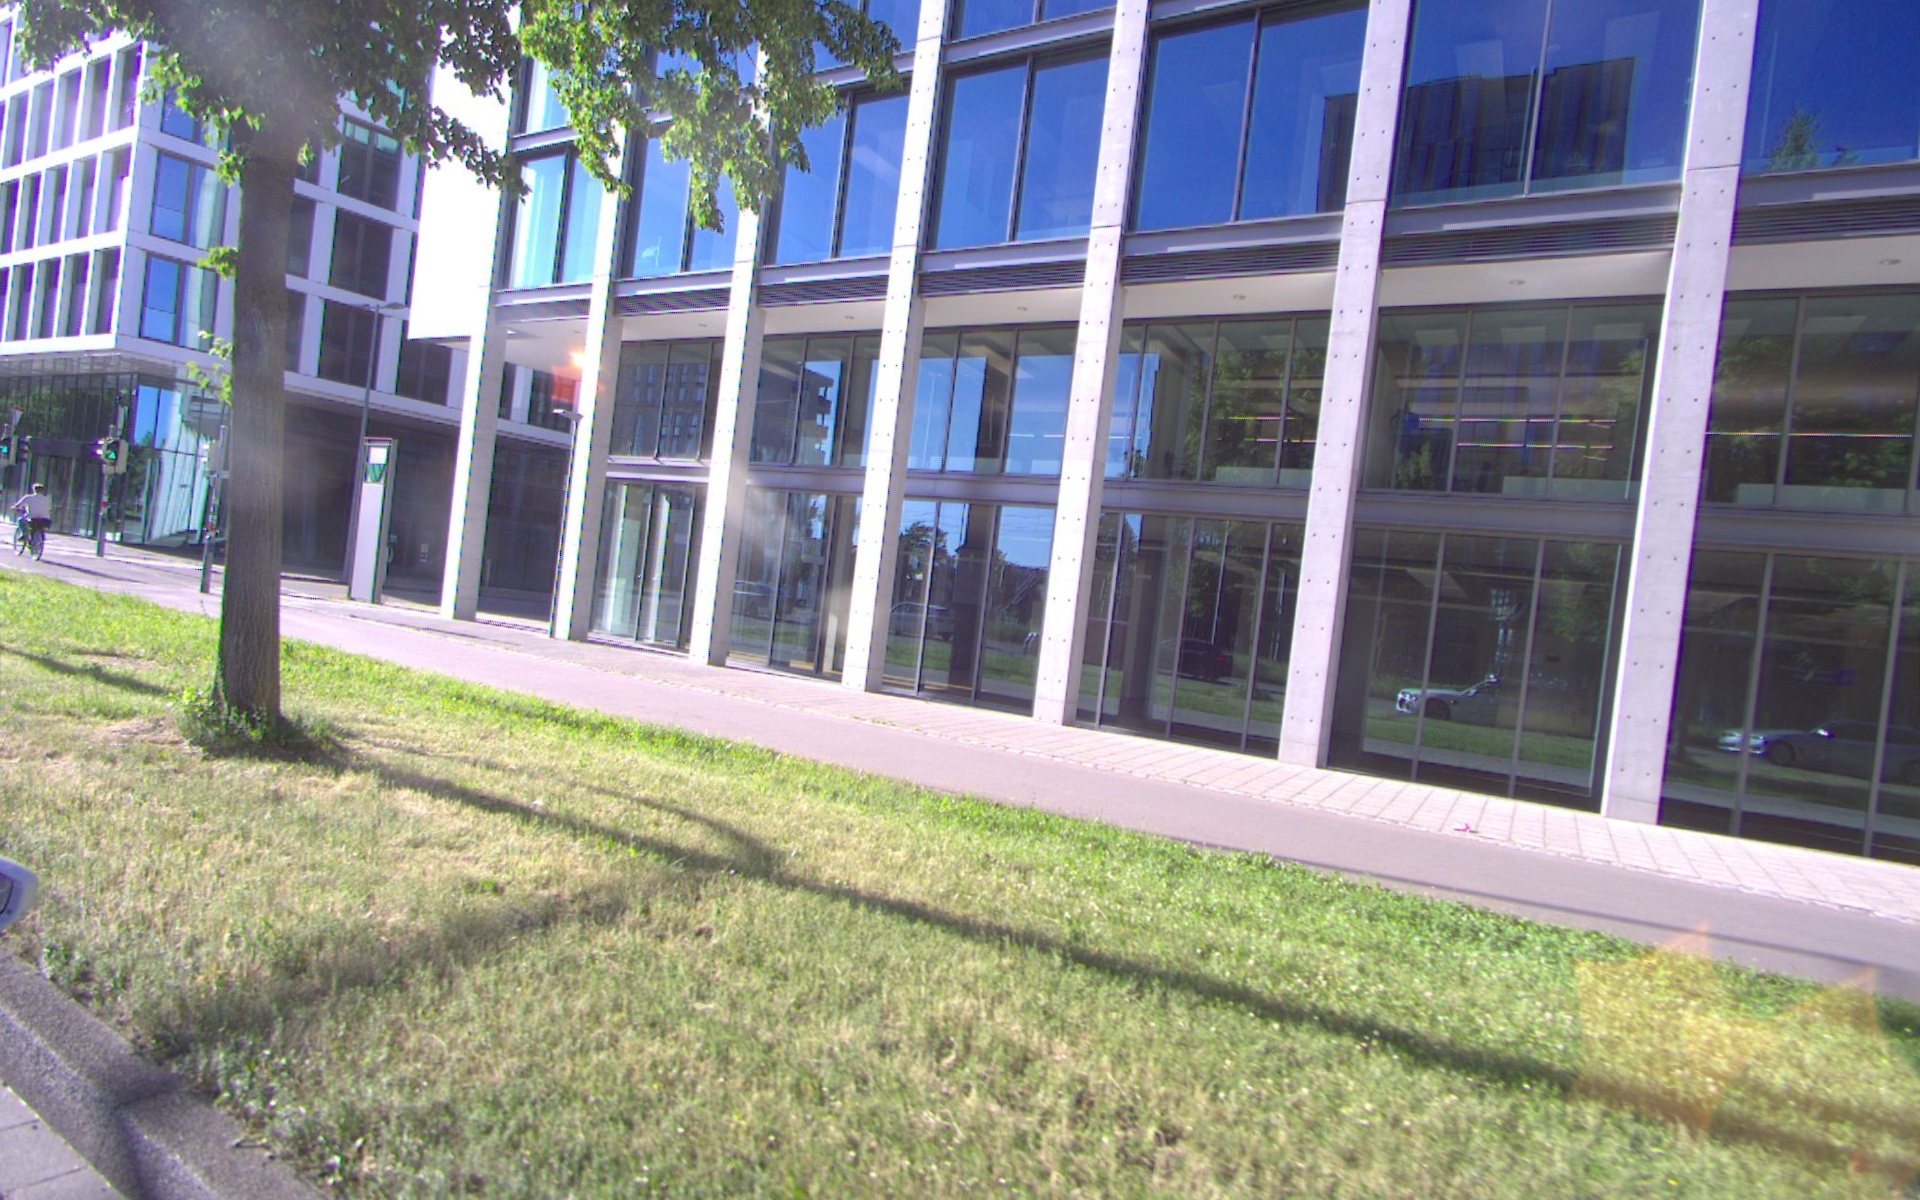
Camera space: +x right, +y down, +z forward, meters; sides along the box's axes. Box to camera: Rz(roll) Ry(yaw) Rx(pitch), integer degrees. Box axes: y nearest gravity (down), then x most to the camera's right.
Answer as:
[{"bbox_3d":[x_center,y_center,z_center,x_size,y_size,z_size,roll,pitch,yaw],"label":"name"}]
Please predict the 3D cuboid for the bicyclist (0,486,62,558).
[{"bbox_3d":[-21.752,-1.816,23.542,0.835,1.550,0.772,7,1,31],"label":"bicyclist"}]

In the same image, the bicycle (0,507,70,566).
[{"bbox_3d":[-21.815,-1.498,23.620,1.928,1.188,0.742,7,0,31],"label":"bicycle"}]
